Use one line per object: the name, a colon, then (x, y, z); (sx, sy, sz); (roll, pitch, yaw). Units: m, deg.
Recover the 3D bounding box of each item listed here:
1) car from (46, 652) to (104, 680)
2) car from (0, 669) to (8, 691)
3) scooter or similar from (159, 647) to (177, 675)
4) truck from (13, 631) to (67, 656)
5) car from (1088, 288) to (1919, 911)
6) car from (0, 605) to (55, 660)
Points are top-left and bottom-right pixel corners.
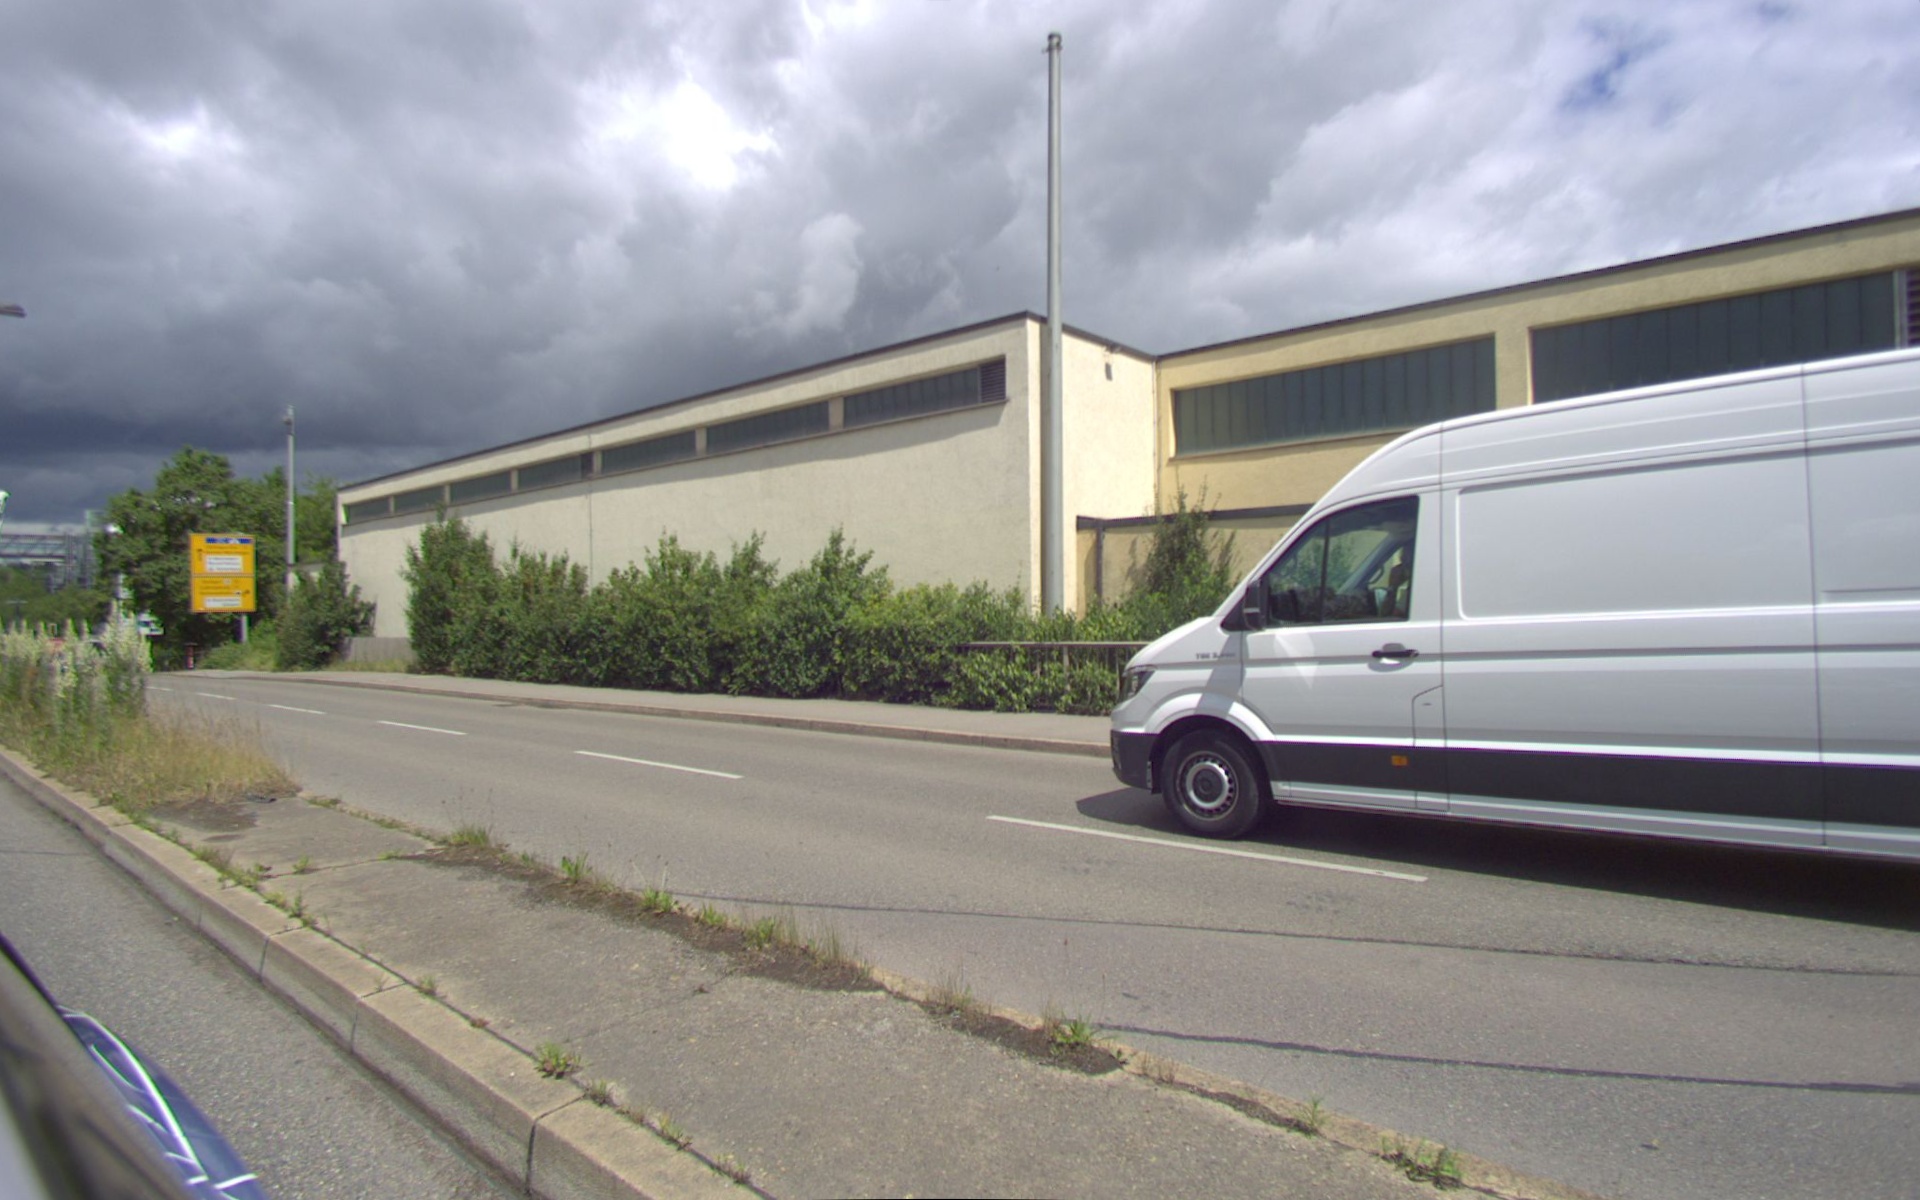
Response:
car: (-43.827, 3.253, 50.088); (4.000, 1.285, 1.735); (-2, -4, 43)
car: (-72.060, 5.944, 74.934); (4.441, 1.639, 1.858); (-4, -4, 41)
scooter or similar: (-38.186, 2.957, 48.809); (0.485, 1.314, 1.644); (-2, -2, -43)
truck: (-153.093, 7.267, 168.338); (8.909, 3.594, 2.349); (-4, -1, 16)
car: (4.107, 0.028, 5.477); (6.818, 2.591, 2.045); (-2, -2, 41)
car: (-35.371, 1.229, 37.613); (4.865, 1.903, 1.973); (-2, -2, 41)
